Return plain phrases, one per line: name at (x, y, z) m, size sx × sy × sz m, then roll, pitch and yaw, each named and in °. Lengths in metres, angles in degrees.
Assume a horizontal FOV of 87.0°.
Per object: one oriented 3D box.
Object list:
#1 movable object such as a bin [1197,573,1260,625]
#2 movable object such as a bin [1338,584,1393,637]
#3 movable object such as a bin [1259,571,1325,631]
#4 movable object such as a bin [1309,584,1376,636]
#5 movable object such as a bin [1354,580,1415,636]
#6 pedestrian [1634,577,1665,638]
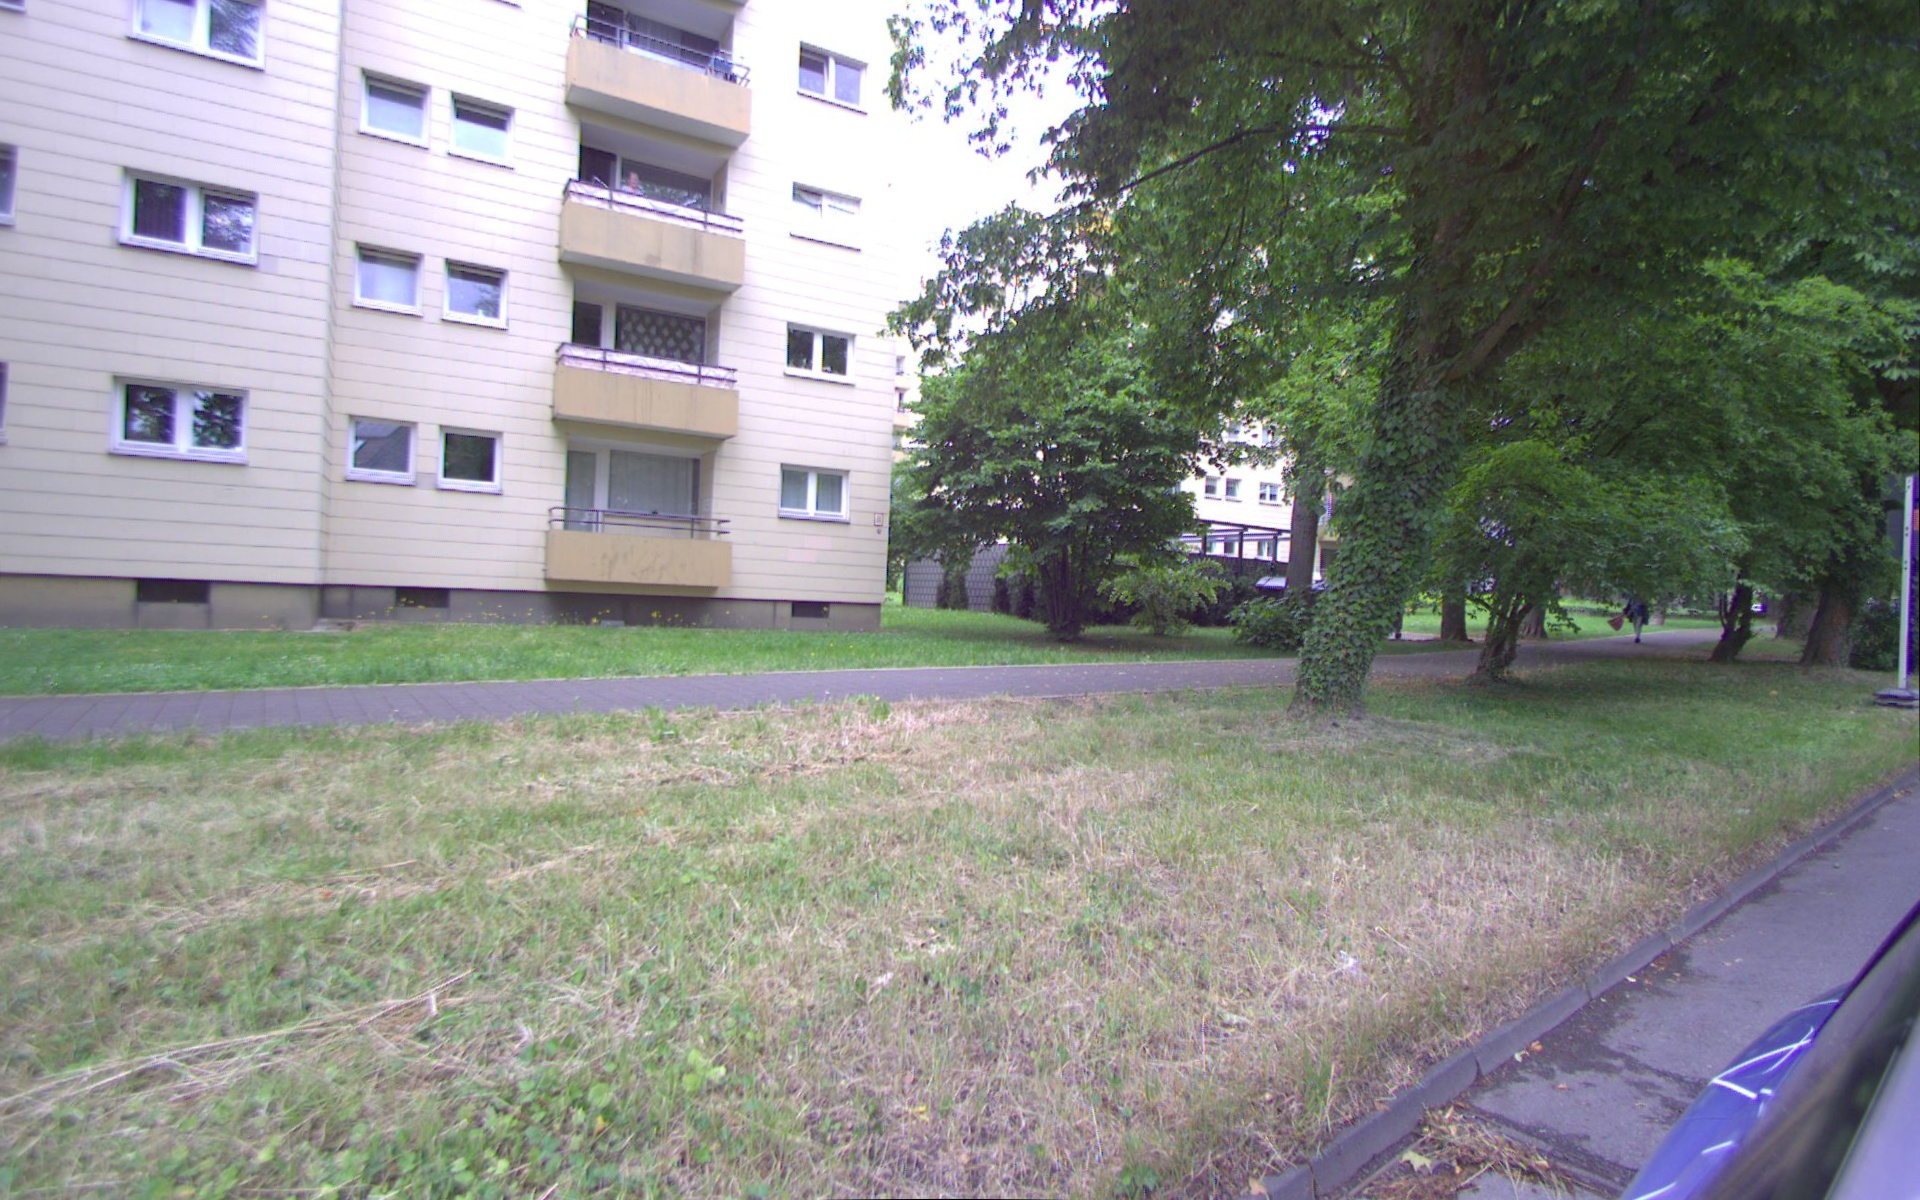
movable object such as a bin at (7.422, -0.040, 27.926) m, size 1.190 × 1.358 × 1.328 m, roll 3°, pitch 2°, yaw 41°
movable object such as a bin at (10.561, 0.256, 26.356) m, size 1.022 × 1.320 × 0.946 m, roll 3°, pitch 2°, yaw 41°
movable object such as a bin at (8.684, 0.019, 26.454) m, size 1.190 × 1.475 × 1.328 m, roll 3°, pitch 2°, yaw 41°
movable object such as a bin at (9.674, 0.235, 25.582) m, size 1.190 × 1.236 × 1.328 m, roll 3°, pitch 2°, yaw 41°
movable object such as a bin at (11.362, 0.197, 27.074) m, size 1.190 × 1.431 × 1.094 m, roll 3°, pitch 2°, yaw 41°
pedestrian at (20.666, 0.220, 30.321) m, size 0.560 × 1.761 × 0.565 m, roll 1°, pitch 2°, yaw -41°
